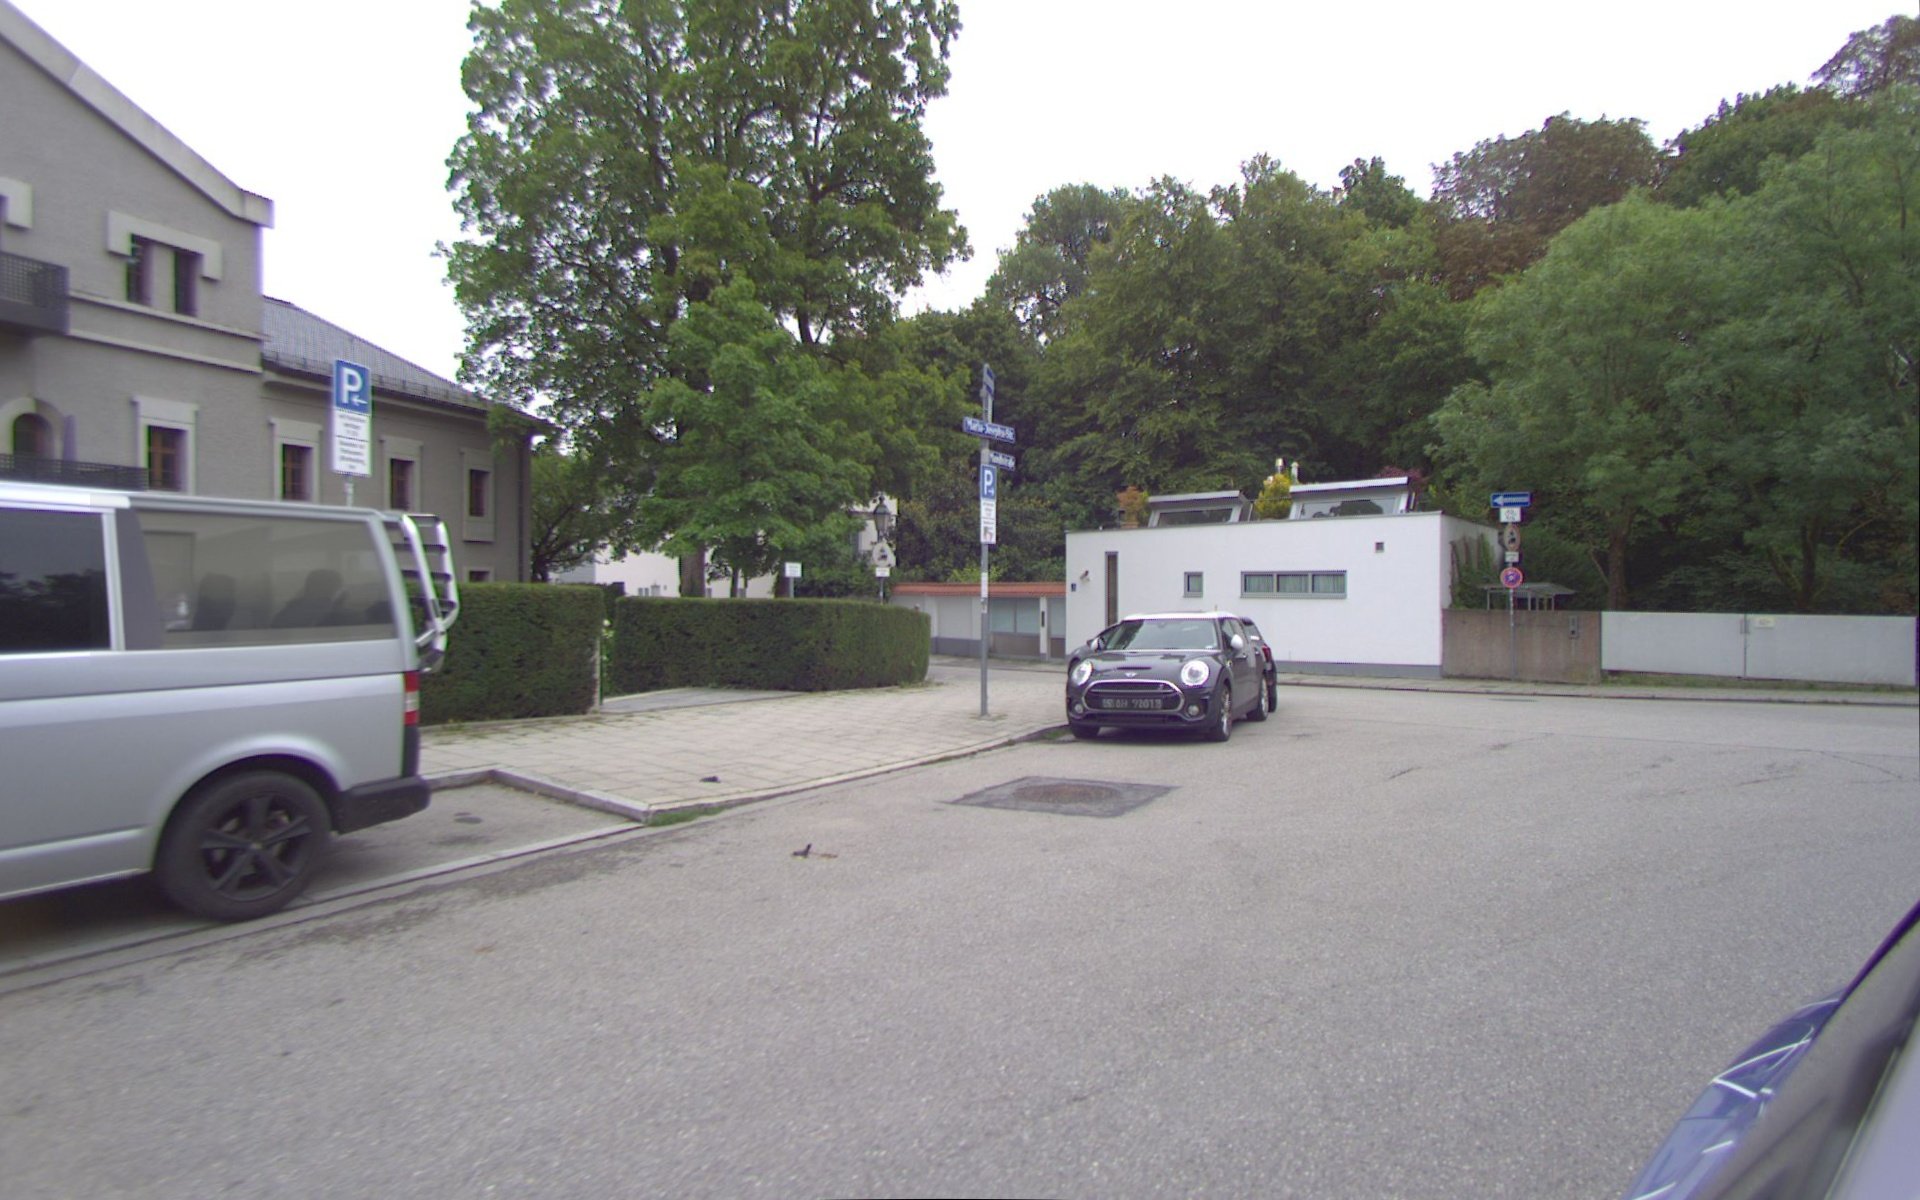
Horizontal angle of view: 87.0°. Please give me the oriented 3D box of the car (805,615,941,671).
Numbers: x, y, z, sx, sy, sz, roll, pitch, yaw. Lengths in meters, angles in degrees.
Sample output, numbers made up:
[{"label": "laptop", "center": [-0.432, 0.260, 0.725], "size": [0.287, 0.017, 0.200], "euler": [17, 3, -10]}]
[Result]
[{"label": "car", "center": [-2.623, 1.199, 29.819], "size": [1.909, 1.465, 4.005], "euler": [1, -1, -44]}]

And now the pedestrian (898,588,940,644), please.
[{"label": "pedestrian", "center": [-1.468, 0.576, 36.075], "size": [0.936, 1.956, 1.228], "euler": [1, -1, -45]}]

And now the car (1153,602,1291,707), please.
[{"label": "car", "center": [4.134, 0.861, 16.499], "size": [1.868, 1.465, 3.999], "euler": [-2, -2, 11]}]

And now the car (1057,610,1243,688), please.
[{"label": "car", "center": [3.886, 1.008, 21.372], "size": [1.901, 1.465, 4.020], "euler": [2, -2, -24]}]

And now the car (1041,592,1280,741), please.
[{"label": "car", "center": [2.616, 0.728, 12.328], "size": [1.878, 1.465, 4.231], "euler": [-2, -2, 25]}]

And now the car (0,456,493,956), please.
[{"label": "car", "center": [-4.756, 0.366, 4.010], "size": [1.927, 1.928, 5.012], "euler": [3, 1, 32]}]
